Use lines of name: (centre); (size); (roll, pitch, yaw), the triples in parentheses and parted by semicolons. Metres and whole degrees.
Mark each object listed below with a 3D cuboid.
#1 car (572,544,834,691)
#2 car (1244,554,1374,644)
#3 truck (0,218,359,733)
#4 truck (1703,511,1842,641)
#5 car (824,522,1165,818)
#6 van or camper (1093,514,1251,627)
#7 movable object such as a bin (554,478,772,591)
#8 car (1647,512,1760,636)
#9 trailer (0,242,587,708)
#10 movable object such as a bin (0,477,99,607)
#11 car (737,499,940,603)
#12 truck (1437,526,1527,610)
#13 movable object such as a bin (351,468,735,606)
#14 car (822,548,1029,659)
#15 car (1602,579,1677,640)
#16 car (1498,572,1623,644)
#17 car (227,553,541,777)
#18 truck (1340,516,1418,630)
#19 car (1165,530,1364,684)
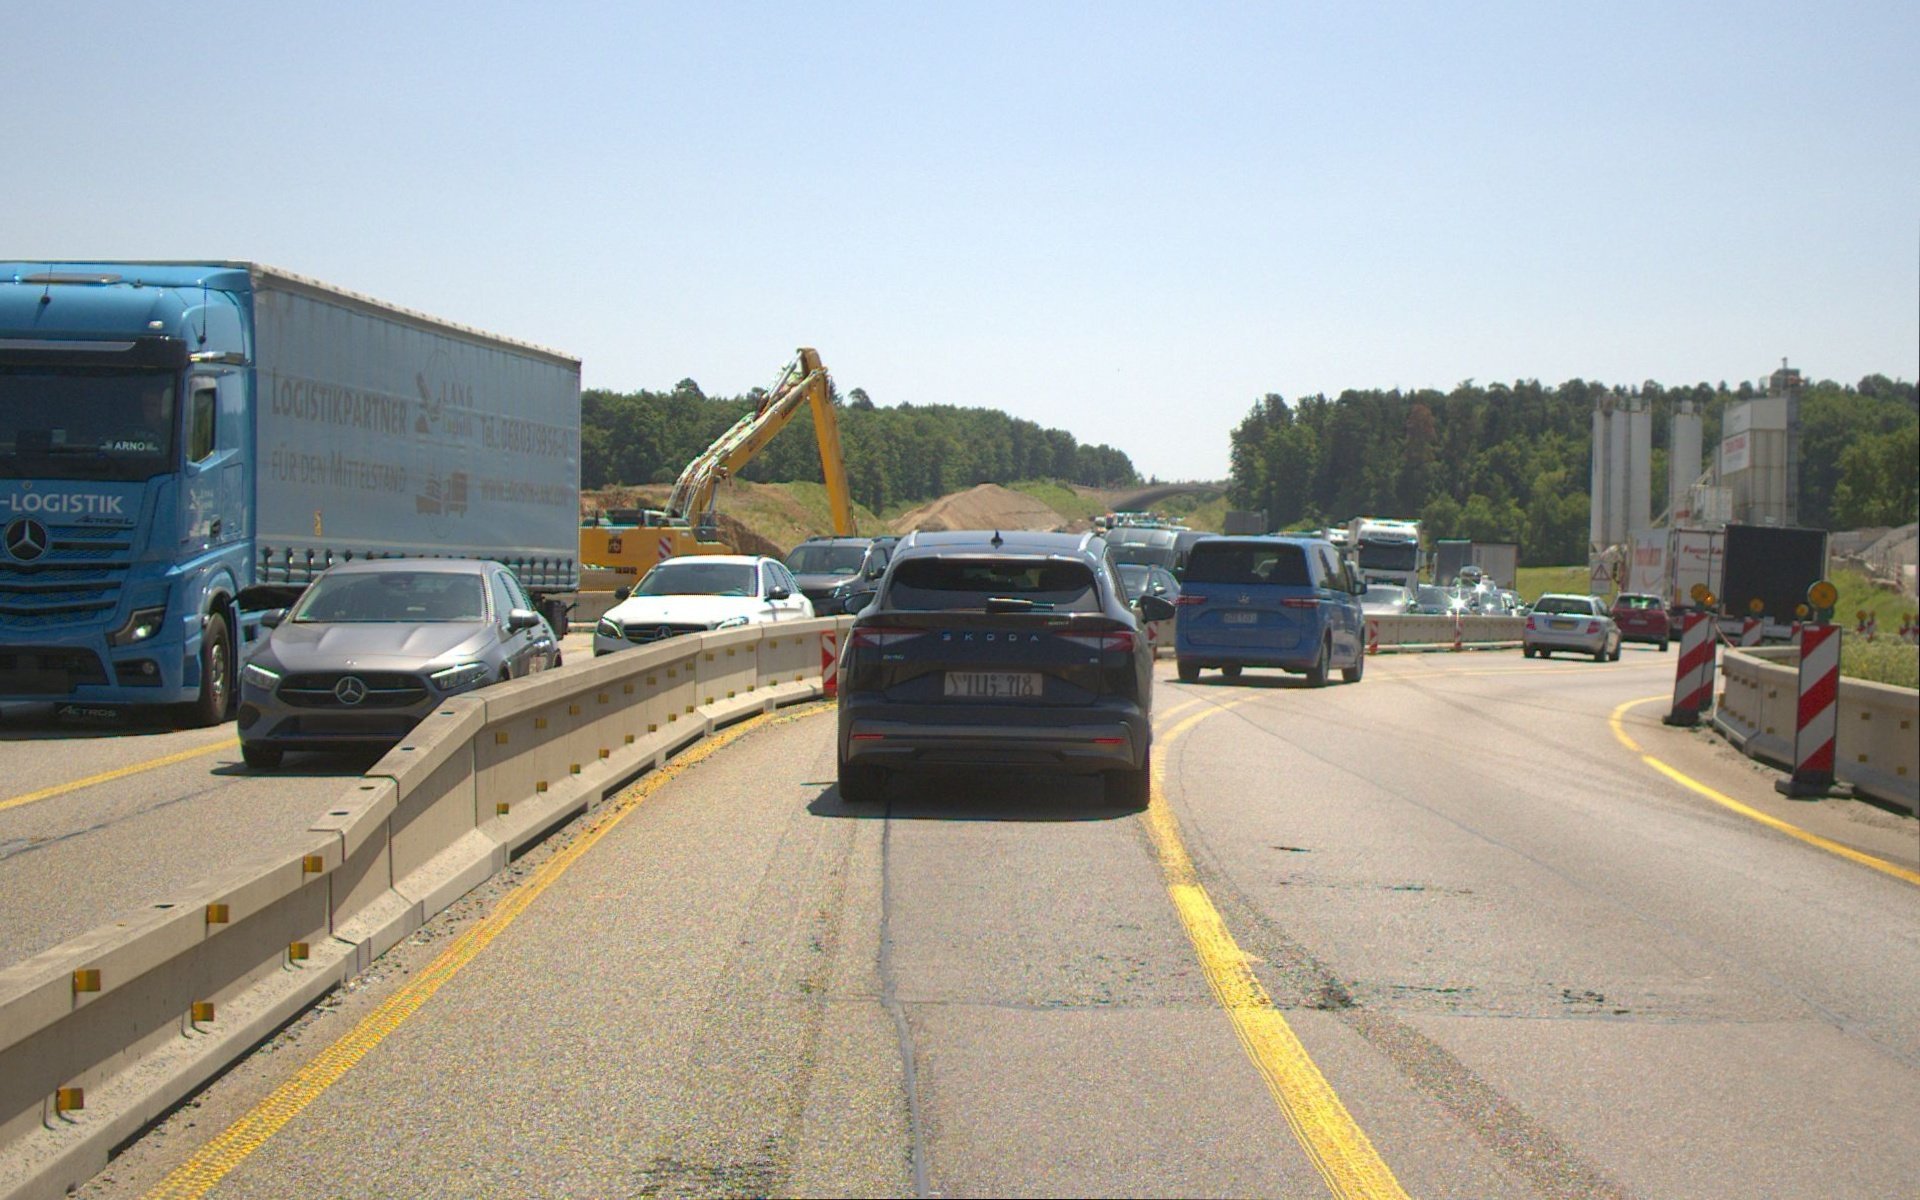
car: (-2.828, 0.147, 38.928); (2.017, 1.439, 4.587); (1, 2, 8)
car: (7.884, -0.005, 77.258); (1.874, 1.866, 5.054); (3, 0, 17)
truck: (-7.493, -1.080, 30.676); (2.914, 4.114, 6.138); (0, 1, 3)
truck: (19.205, -0.560, 81.075); (2.675, 2.935, 5.615); (1, 0, 18)
car: (0.195, 0.341, 21.077); (1.842, 1.576, 4.000); (2, 1, 0)
van or camper: (5.057, -0.682, 80.933); (2.100, 2.532, 6.299); (1, 0, 19)
movable object such as a bin: (-7.352, -1.599, 85.797); (3.295, 2.432, 5.434); (5, 1, 20)
car: (27.179, -0.944, 126.018); (3.438, 4.087, 9.193); (5, 1, 10)
trailer: (-6.968, -1.277, 37.442); (2.915, 4.114, 13.914); (0, 1, 6)
movable object such as a bin: (-21.249, -1.341, 76.218); (2.871, 2.718, 3.361); (3, 2, -40)
car: (-2.090, -0.853, 60.795); (1.777, 1.759, 4.704); (0, 1, 23)
truck: (29.279, -1.841, 193.272); (3.476, 4.206, 10.376); (6, 2, 2)
movable object such as a bin: (-9.237, -1.405, 75.705); (7.922, 2.424, 3.710); (5, 2, 37)
car: (-0.464, 0.025, 52.002); (1.769, 1.602, 4.706); (0, 1, 17)
car: (19.700, 0.254, 99.630); (1.822, 1.638, 3.863); (3, 1, 15)
car: (13.343, 0.148, 76.155); (2.047, 1.521, 5.061); (1, 1, 18)
car: (-4.067, 0.404, 24.824); (1.589, 1.436, 4.125); (-1, 1, 0)
truck: (16.312, -1.065, 134.126); (2.771, 4.245, 6.197); (2, 1, 6)
car: (4.014, 0.054, 44.728); (1.995, 1.837, 3.998); (2, 1, 13)
